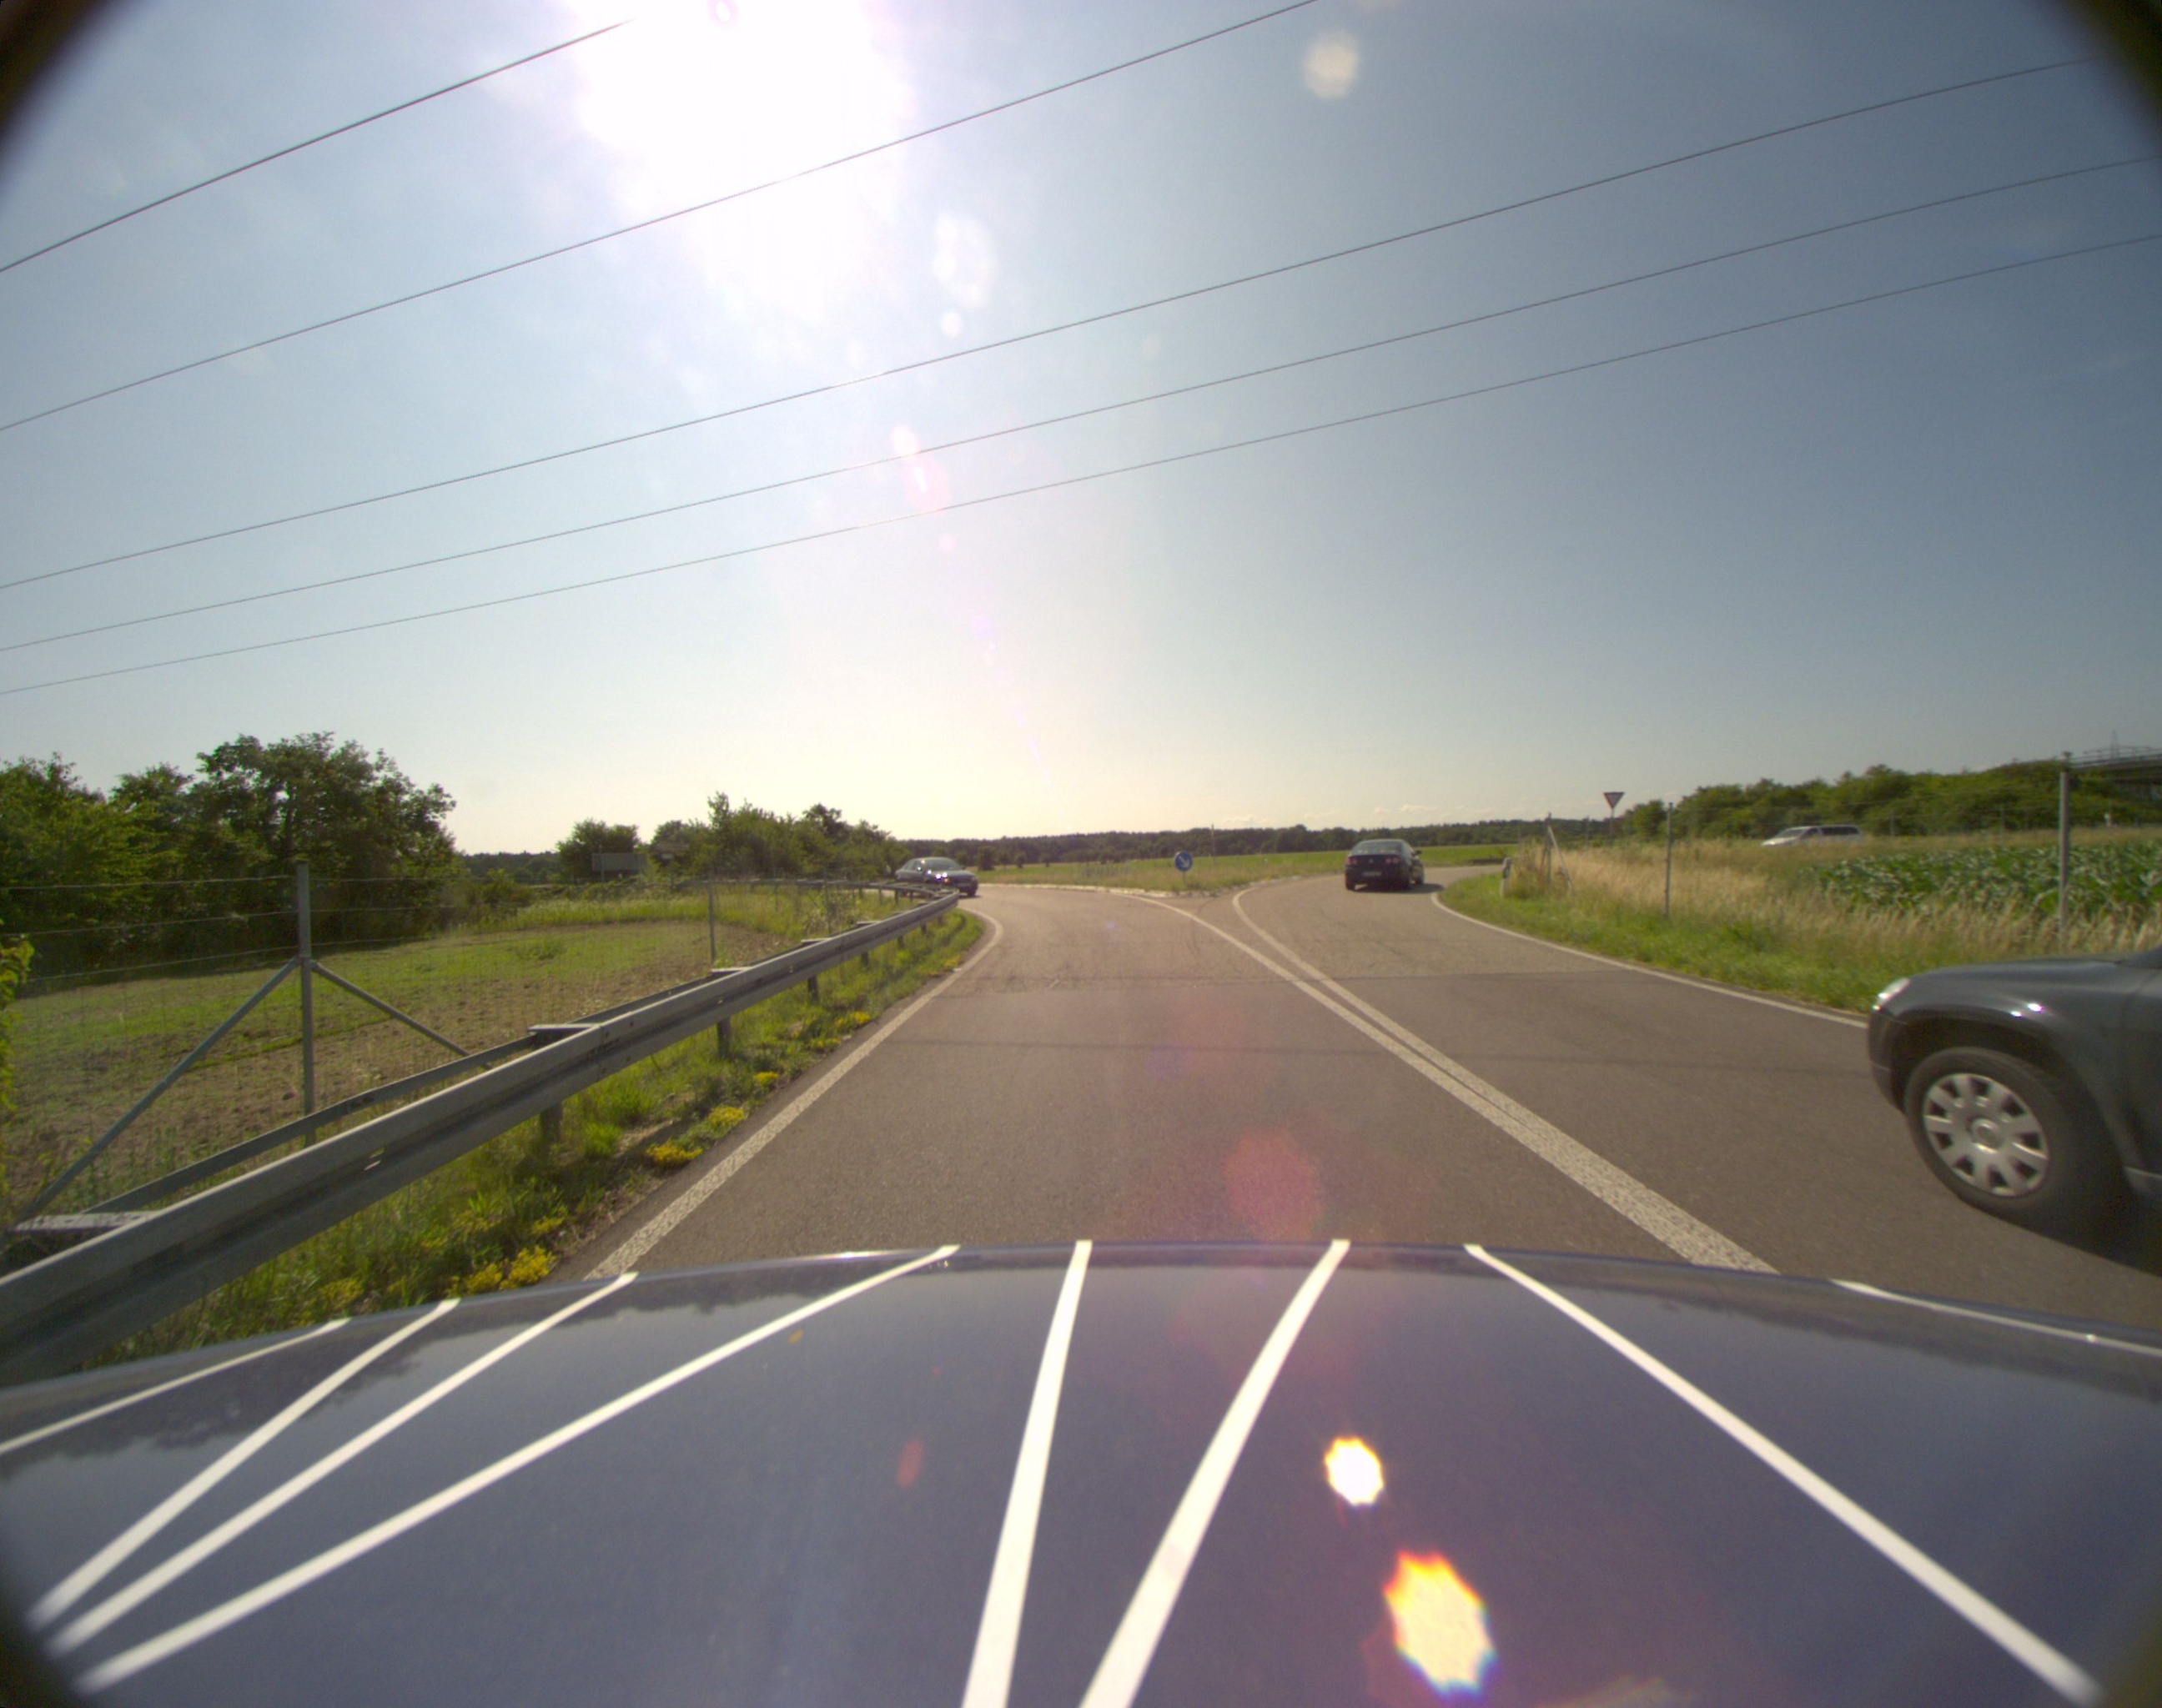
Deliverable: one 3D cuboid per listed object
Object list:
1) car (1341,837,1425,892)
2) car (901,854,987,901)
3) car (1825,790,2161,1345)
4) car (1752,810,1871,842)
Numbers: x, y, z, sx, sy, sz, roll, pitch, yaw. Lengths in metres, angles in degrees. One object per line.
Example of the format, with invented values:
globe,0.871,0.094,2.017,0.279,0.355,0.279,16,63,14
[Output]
car,9.209,0.264,22.950,1.776,1.448,4.600,-1,1,29
car,-5.064,0.807,27.692,1.890,1.448,4.066,-4,1,-27
car,4.213,0.654,1.252,1.988,1.696,4.262,-1,1,4
car,44.664,-1.700,46.515,5.351,1.630,2.101,-3,1,-3
